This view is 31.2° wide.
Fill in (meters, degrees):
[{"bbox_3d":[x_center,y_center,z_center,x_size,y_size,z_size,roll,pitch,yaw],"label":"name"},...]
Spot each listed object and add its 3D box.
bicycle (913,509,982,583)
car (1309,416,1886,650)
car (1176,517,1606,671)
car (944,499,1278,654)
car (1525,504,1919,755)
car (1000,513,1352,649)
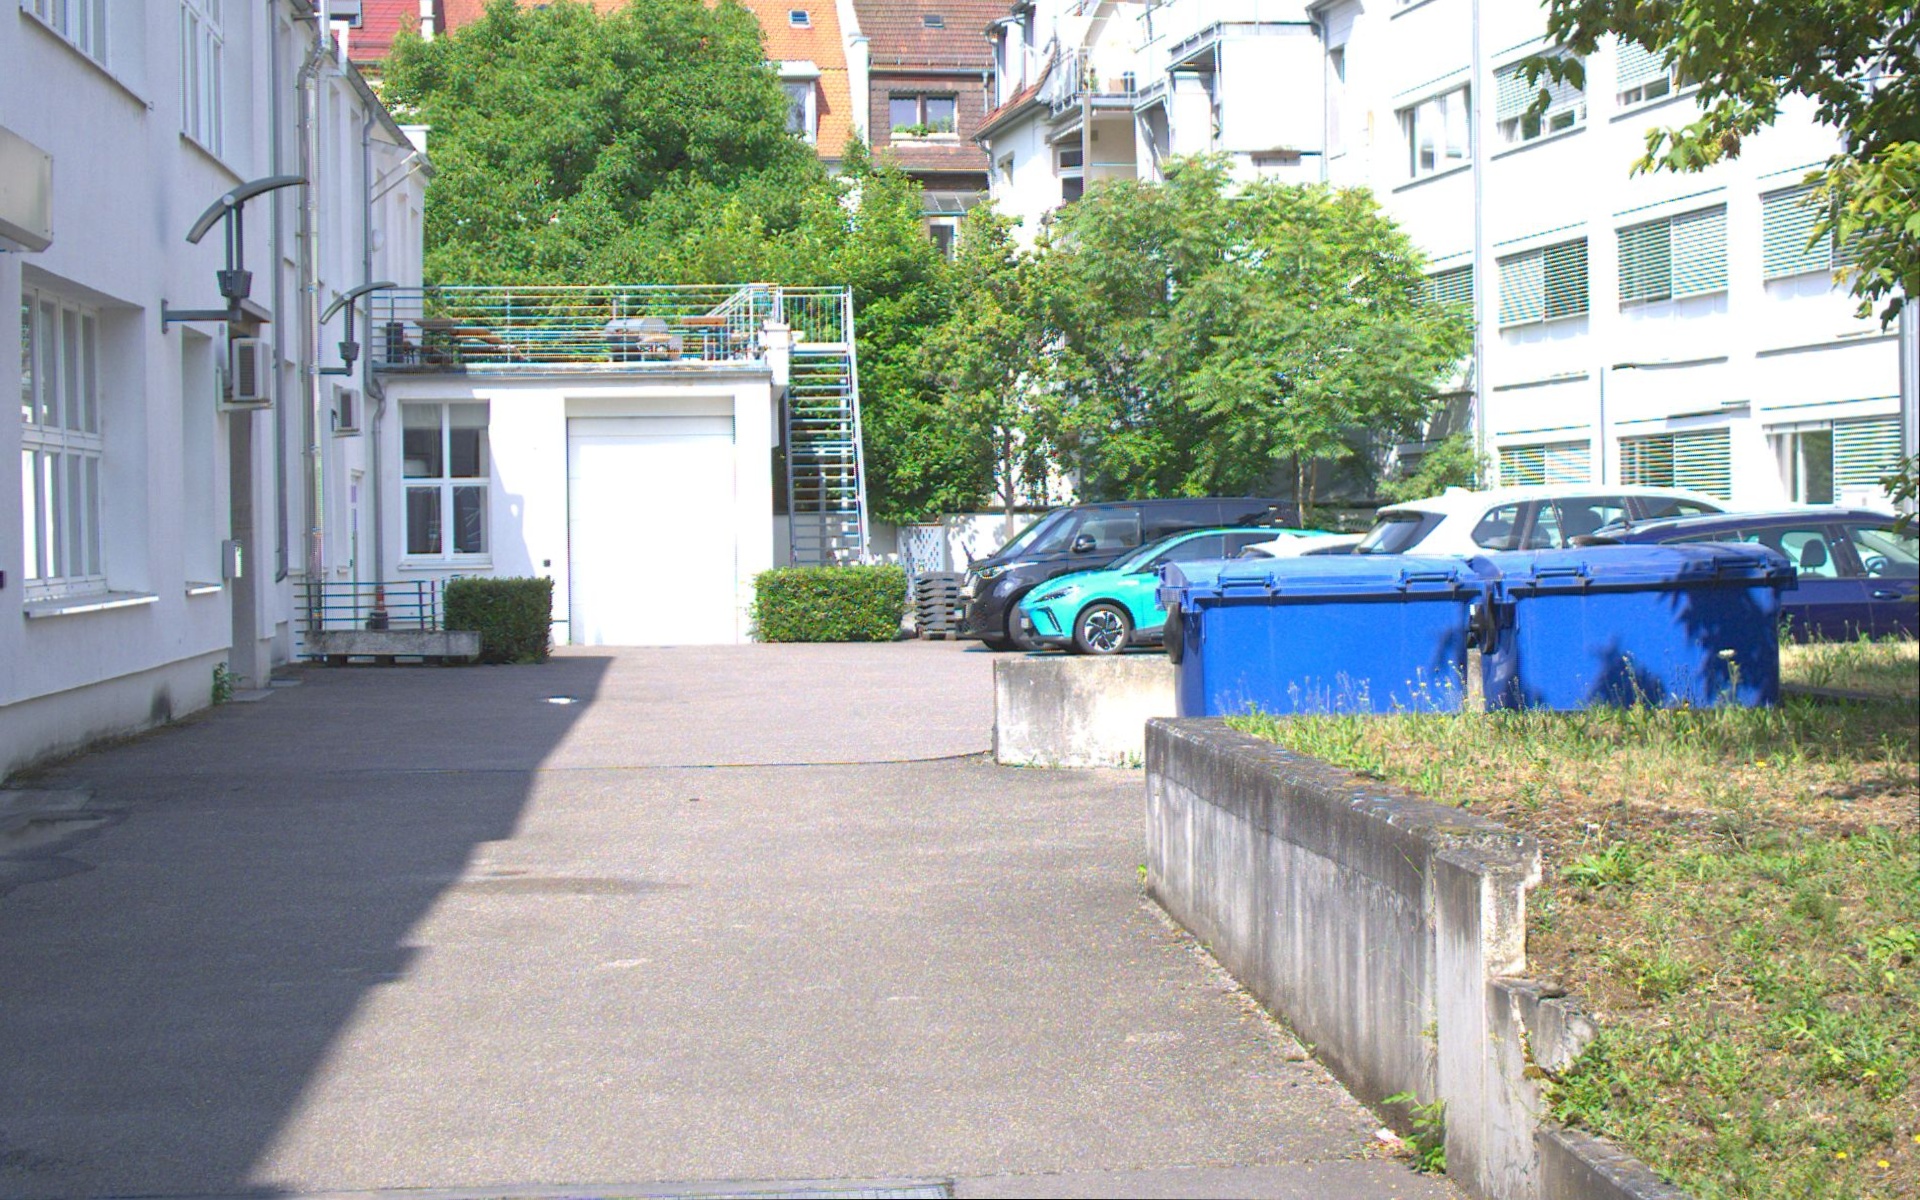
[{"bbox_3d":[-0.205,-0.856,54.144,0.640,1.113,1.859,2,1,-13],"label":"bicycle"},{"bbox_3d":[4.934,-0.523,26.891,3.986,1.739,1.950,0,2,-10],"label":"car"},{"bbox_3d":[4.298,-0.085,34.554,3.986,1.440,1.629,-1,3,-10],"label":"car"},{"bbox_3d":[1.926,-0.306,44.462,3.986,1.811,1.664,2,1,-10],"label":"car"},{"bbox_3d":[6.241,0.223,24.022,4.111,1.601,1.755,2,1,-10],"label":"car"},{"bbox_3d":[2.595,-0.252,41.767,3.986,1.568,1.629,0,3,-10],"label":"car"}]
